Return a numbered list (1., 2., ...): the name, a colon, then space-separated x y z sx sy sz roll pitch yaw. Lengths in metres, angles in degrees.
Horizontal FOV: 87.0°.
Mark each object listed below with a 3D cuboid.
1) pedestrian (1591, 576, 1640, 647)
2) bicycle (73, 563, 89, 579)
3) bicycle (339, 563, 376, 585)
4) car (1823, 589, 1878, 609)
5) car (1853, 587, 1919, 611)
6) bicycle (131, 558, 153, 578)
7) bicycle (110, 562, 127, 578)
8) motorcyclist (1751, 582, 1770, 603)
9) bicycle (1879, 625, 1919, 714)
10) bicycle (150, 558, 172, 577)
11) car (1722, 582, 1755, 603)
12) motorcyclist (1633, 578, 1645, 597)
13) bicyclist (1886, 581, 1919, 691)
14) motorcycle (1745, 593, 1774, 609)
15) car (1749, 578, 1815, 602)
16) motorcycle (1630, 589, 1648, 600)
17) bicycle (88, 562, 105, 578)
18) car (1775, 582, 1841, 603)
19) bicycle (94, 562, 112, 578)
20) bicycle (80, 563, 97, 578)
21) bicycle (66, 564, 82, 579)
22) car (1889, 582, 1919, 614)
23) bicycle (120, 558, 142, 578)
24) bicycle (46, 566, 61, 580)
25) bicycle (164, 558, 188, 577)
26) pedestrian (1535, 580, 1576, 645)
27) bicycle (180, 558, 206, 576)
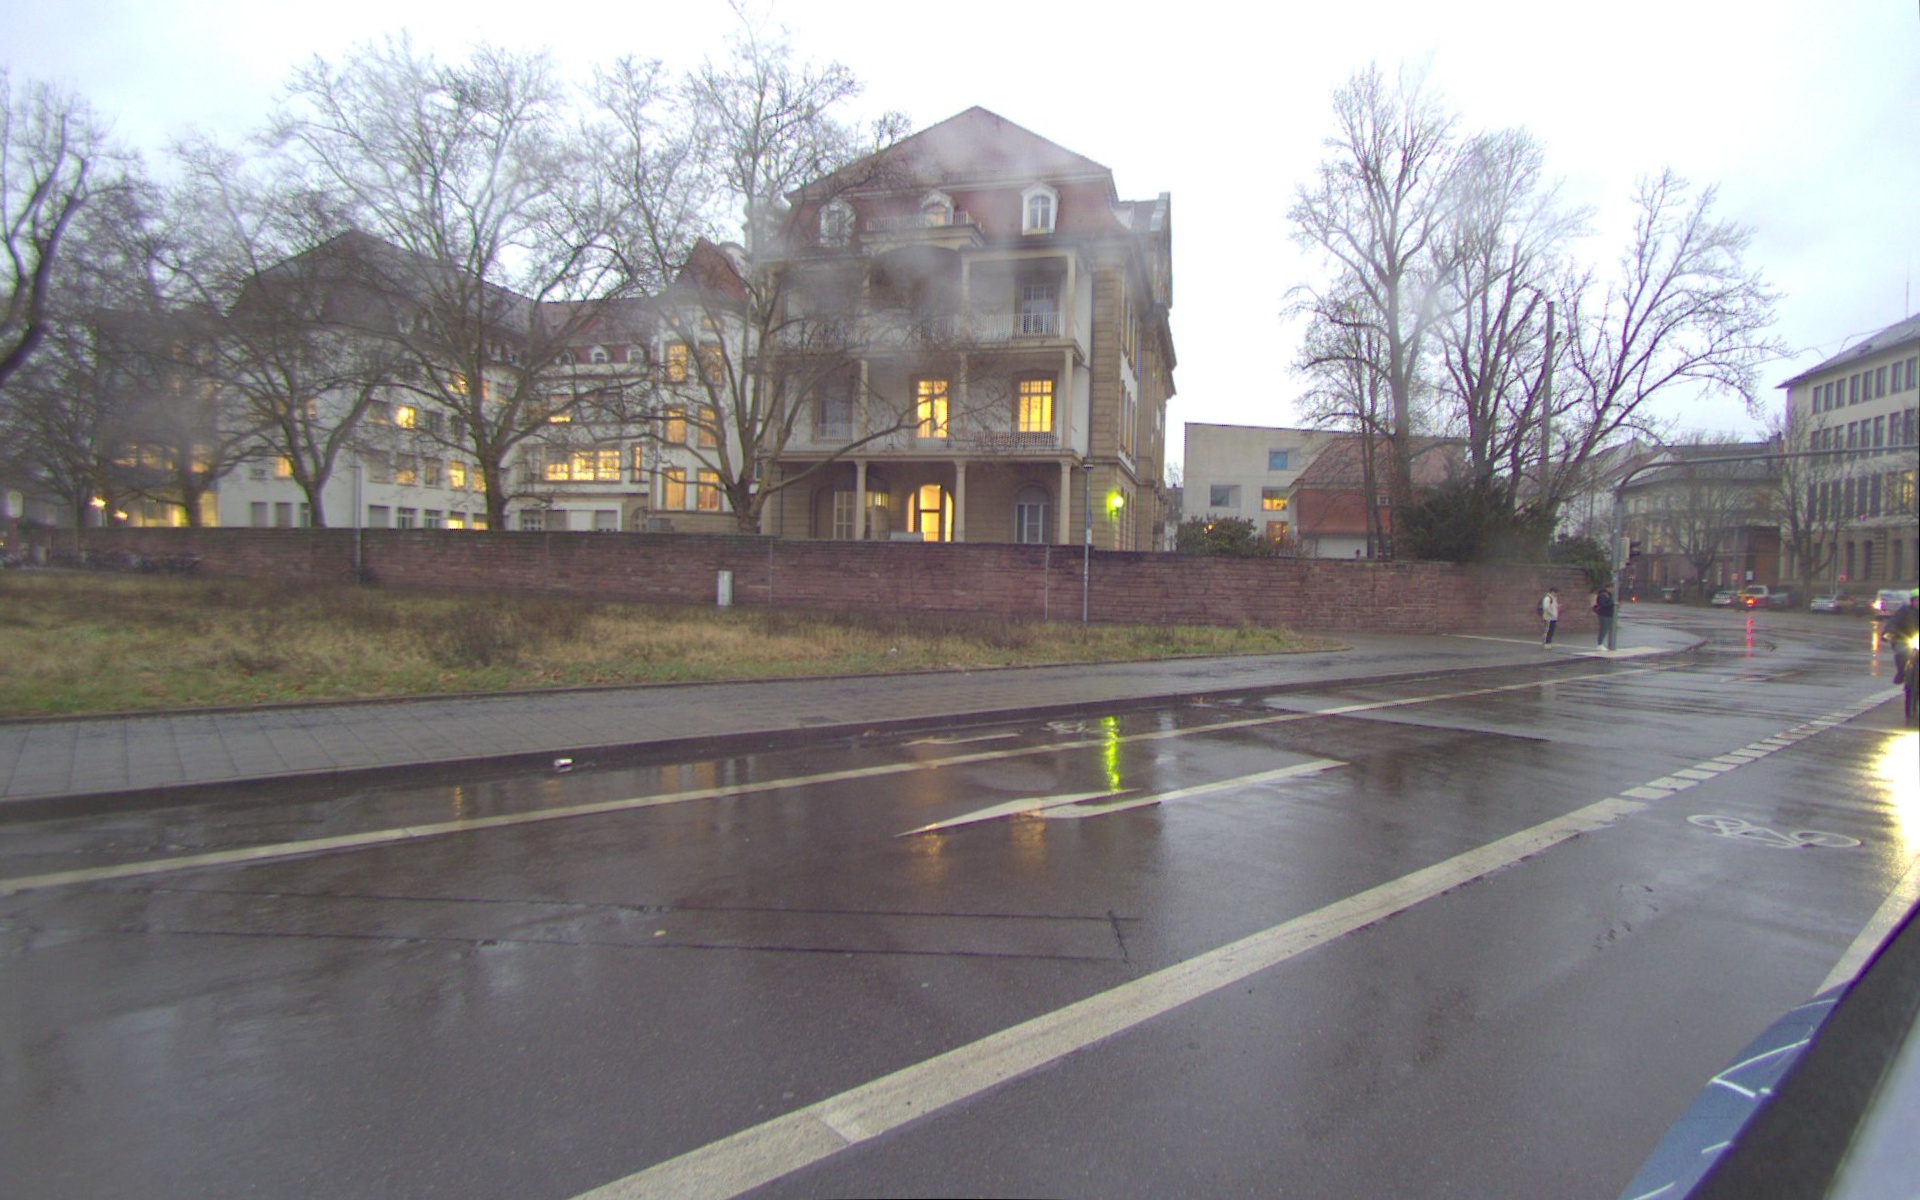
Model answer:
1. pedestrian: 18.306 0.298 28.279 0.996 1.924 0.664 4 3 41
2. bicycle: -46.662 -1.533 53.719 1.522 0.796 0.389 0 0 38
3. bicycle: -23.373 -0.986 39.272 1.366 0.835 0.392 0 0 14
4. car: 63.612 -0.087 72.305 3.568 1.322 1.712 -1 0 -25
5. car: 61.973 -0.065 67.011 3.927 1.570 1.800 0 0 4
6. bicycle: -38.616 -1.505 47.768 1.519 0.869 0.389 0 0 33
7. bicycle: -41.464 -1.474 49.876 1.599 0.796 0.388 0 0 41
8. motorcyclist: 56.096 -0.544 70.899 0.691 1.400 0.863 2 2 15
9. bicycle: 13.161 0.922 13.743 1.923 1.088 0.784 -1 0 -41
10. bicycle: -37.020 -1.495 46.885 1.480 0.849 0.346 0 0 32
11. car: 66.490 -0.651 86.393 1.992 1.690 3.940 0 1 42
12. motorcyclist: 64.831 -1.210 96.669 0.701 1.738 0.738 2 2 16
13. bicyclist: 13.199 0.473 13.746 1.114 1.471 0.784 0 0 -41
14. motorcycle: 56.116 0.049 71.044 0.703 1.067 2.158 3 2 15
15. car: 64.990 -0.797 80.028 3.916 1.924 2.052 0 0 -13
16. motorcycle: 64.851 -0.533 96.676 0.716 1.067 2.157 3 2 15
17. bicycle: -44.168 -1.528 51.767 1.522 0.796 0.389 0 0 38
18. car: 64.709 -0.591 77.231 3.916 1.570 1.805 0 0 -13
19. bicycle: -43.121 -1.493 50.896 1.522 0.796 0.389 0 0 38
20. bicycle: -45.431 -1.530 52.741 1.522 0.796 0.389 0 0 38
21. bicycle: -47.886 -1.536 54.674 1.522 0.796 0.389 0 0 38
22. car: 58.155 -0.130 61.195 3.920 1.868 1.886 -1 0 -30
23. bicycle: -39.898 -1.537 48.722 1.519 0.928 0.389 0 0 33
24. bicycle: -51.599 -1.545 57.592 1.522 0.796 0.389 0 0 38
25. bicycle: -35.540 -1.467 45.860 1.519 0.796 0.389 0 0 33
26. pedestrian: 16.609 0.327 28.223 0.796 1.744 0.663 4 3 44
27. bicycle: -34.199 -1.467 45.111 1.399 0.796 0.355 0 0 26
